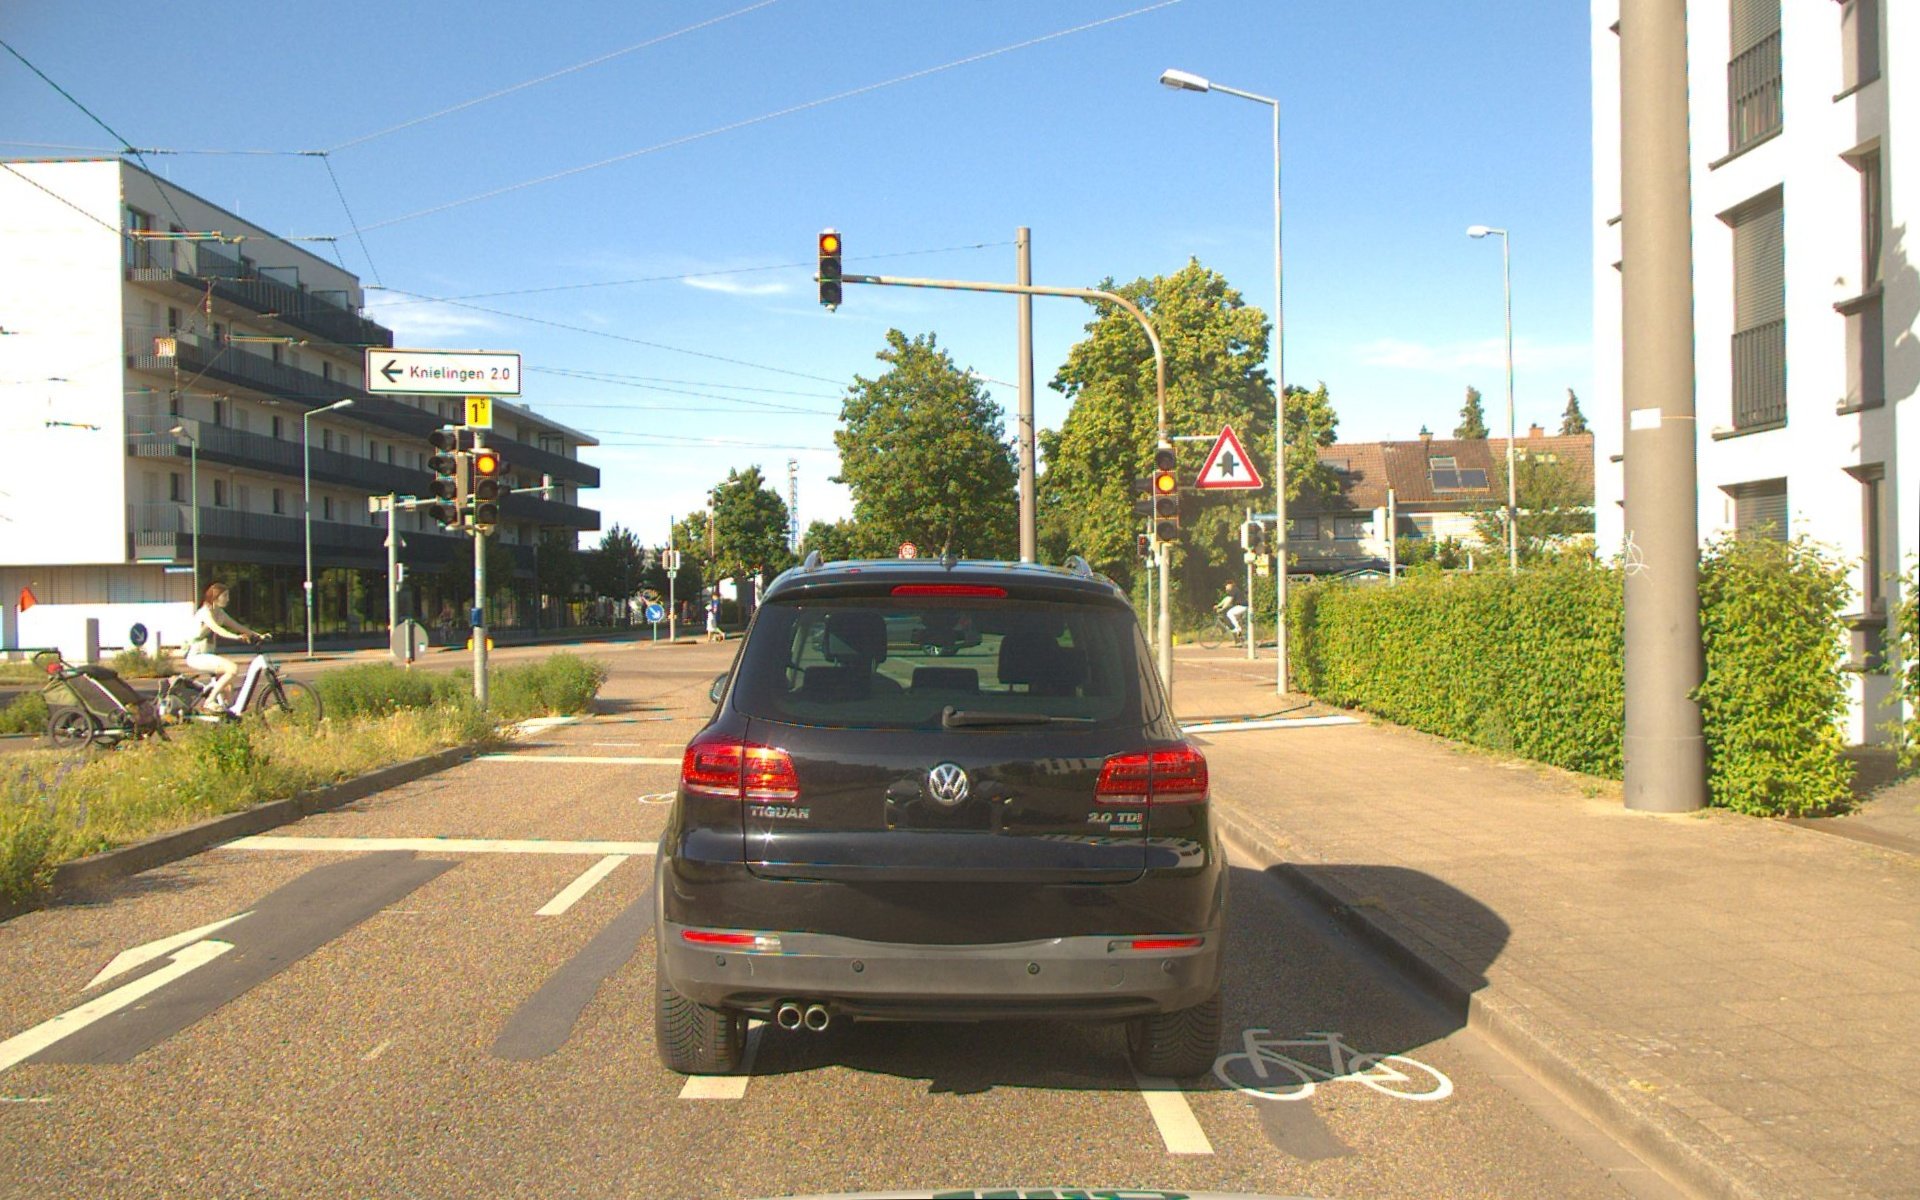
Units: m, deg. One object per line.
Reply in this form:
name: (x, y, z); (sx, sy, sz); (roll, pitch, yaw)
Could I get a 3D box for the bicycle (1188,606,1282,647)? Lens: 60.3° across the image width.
bicycle: (7.491, 0.709, 45.183); (2.452, 1.078, 0.776); (0, 0, 2)

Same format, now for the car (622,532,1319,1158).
car: (-0.034, 0.653, 6.456); (1.867, 1.671, 3.998); (0, 0, -2)

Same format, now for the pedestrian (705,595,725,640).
pedestrian: (-8.769, 0.630, 59.204); (0.590, 1.592, 0.529); (0, 0, 4)

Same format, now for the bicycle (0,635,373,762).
bicycle: (-8.432, 1.062, 18.098); (3.609, 1.195, 0.999); (2, 0, -2)

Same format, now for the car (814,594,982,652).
car: (-1.646, 0.606, 45.277); (4.403, 1.530, 2.001); (0, 0, 3)

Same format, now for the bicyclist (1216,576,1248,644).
bicyclist: (7.425, 0.266, 45.200); (0.786, 1.838, 0.684); (0, 0, 3)

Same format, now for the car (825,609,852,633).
car: (-8.943, 1.519, 122.046); (1.621, 1.668, 4.001); (0, 0, 1)

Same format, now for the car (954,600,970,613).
car: (0.205, 0.731, 190.019); (1.716, 1.411, 3.998); (0, 0, -2)

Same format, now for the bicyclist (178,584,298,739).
bicyclist: (-7.893, 0.655, 18.134); (0.891, 1.658, 0.975); (0, 0, -2)

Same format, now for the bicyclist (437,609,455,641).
bicyclist: (-20.459, 0.996, 65.836); (0.464, 1.245, 0.713); (0, 0, 3)

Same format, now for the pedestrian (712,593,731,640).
pedestrian: (-8.646, 0.599, 59.981); (0.590, 1.668, 0.529); (0, 0, 4)

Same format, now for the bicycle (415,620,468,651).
bicycle: (-19.547, 1.341, 62.421); (0.947, 1.104, 1.834); (0, 0, 23)

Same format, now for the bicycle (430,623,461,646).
bicycle: (-20.469, 1.347, 65.821); (0.485, 0.863, 2.079); (0, 0, 3)
